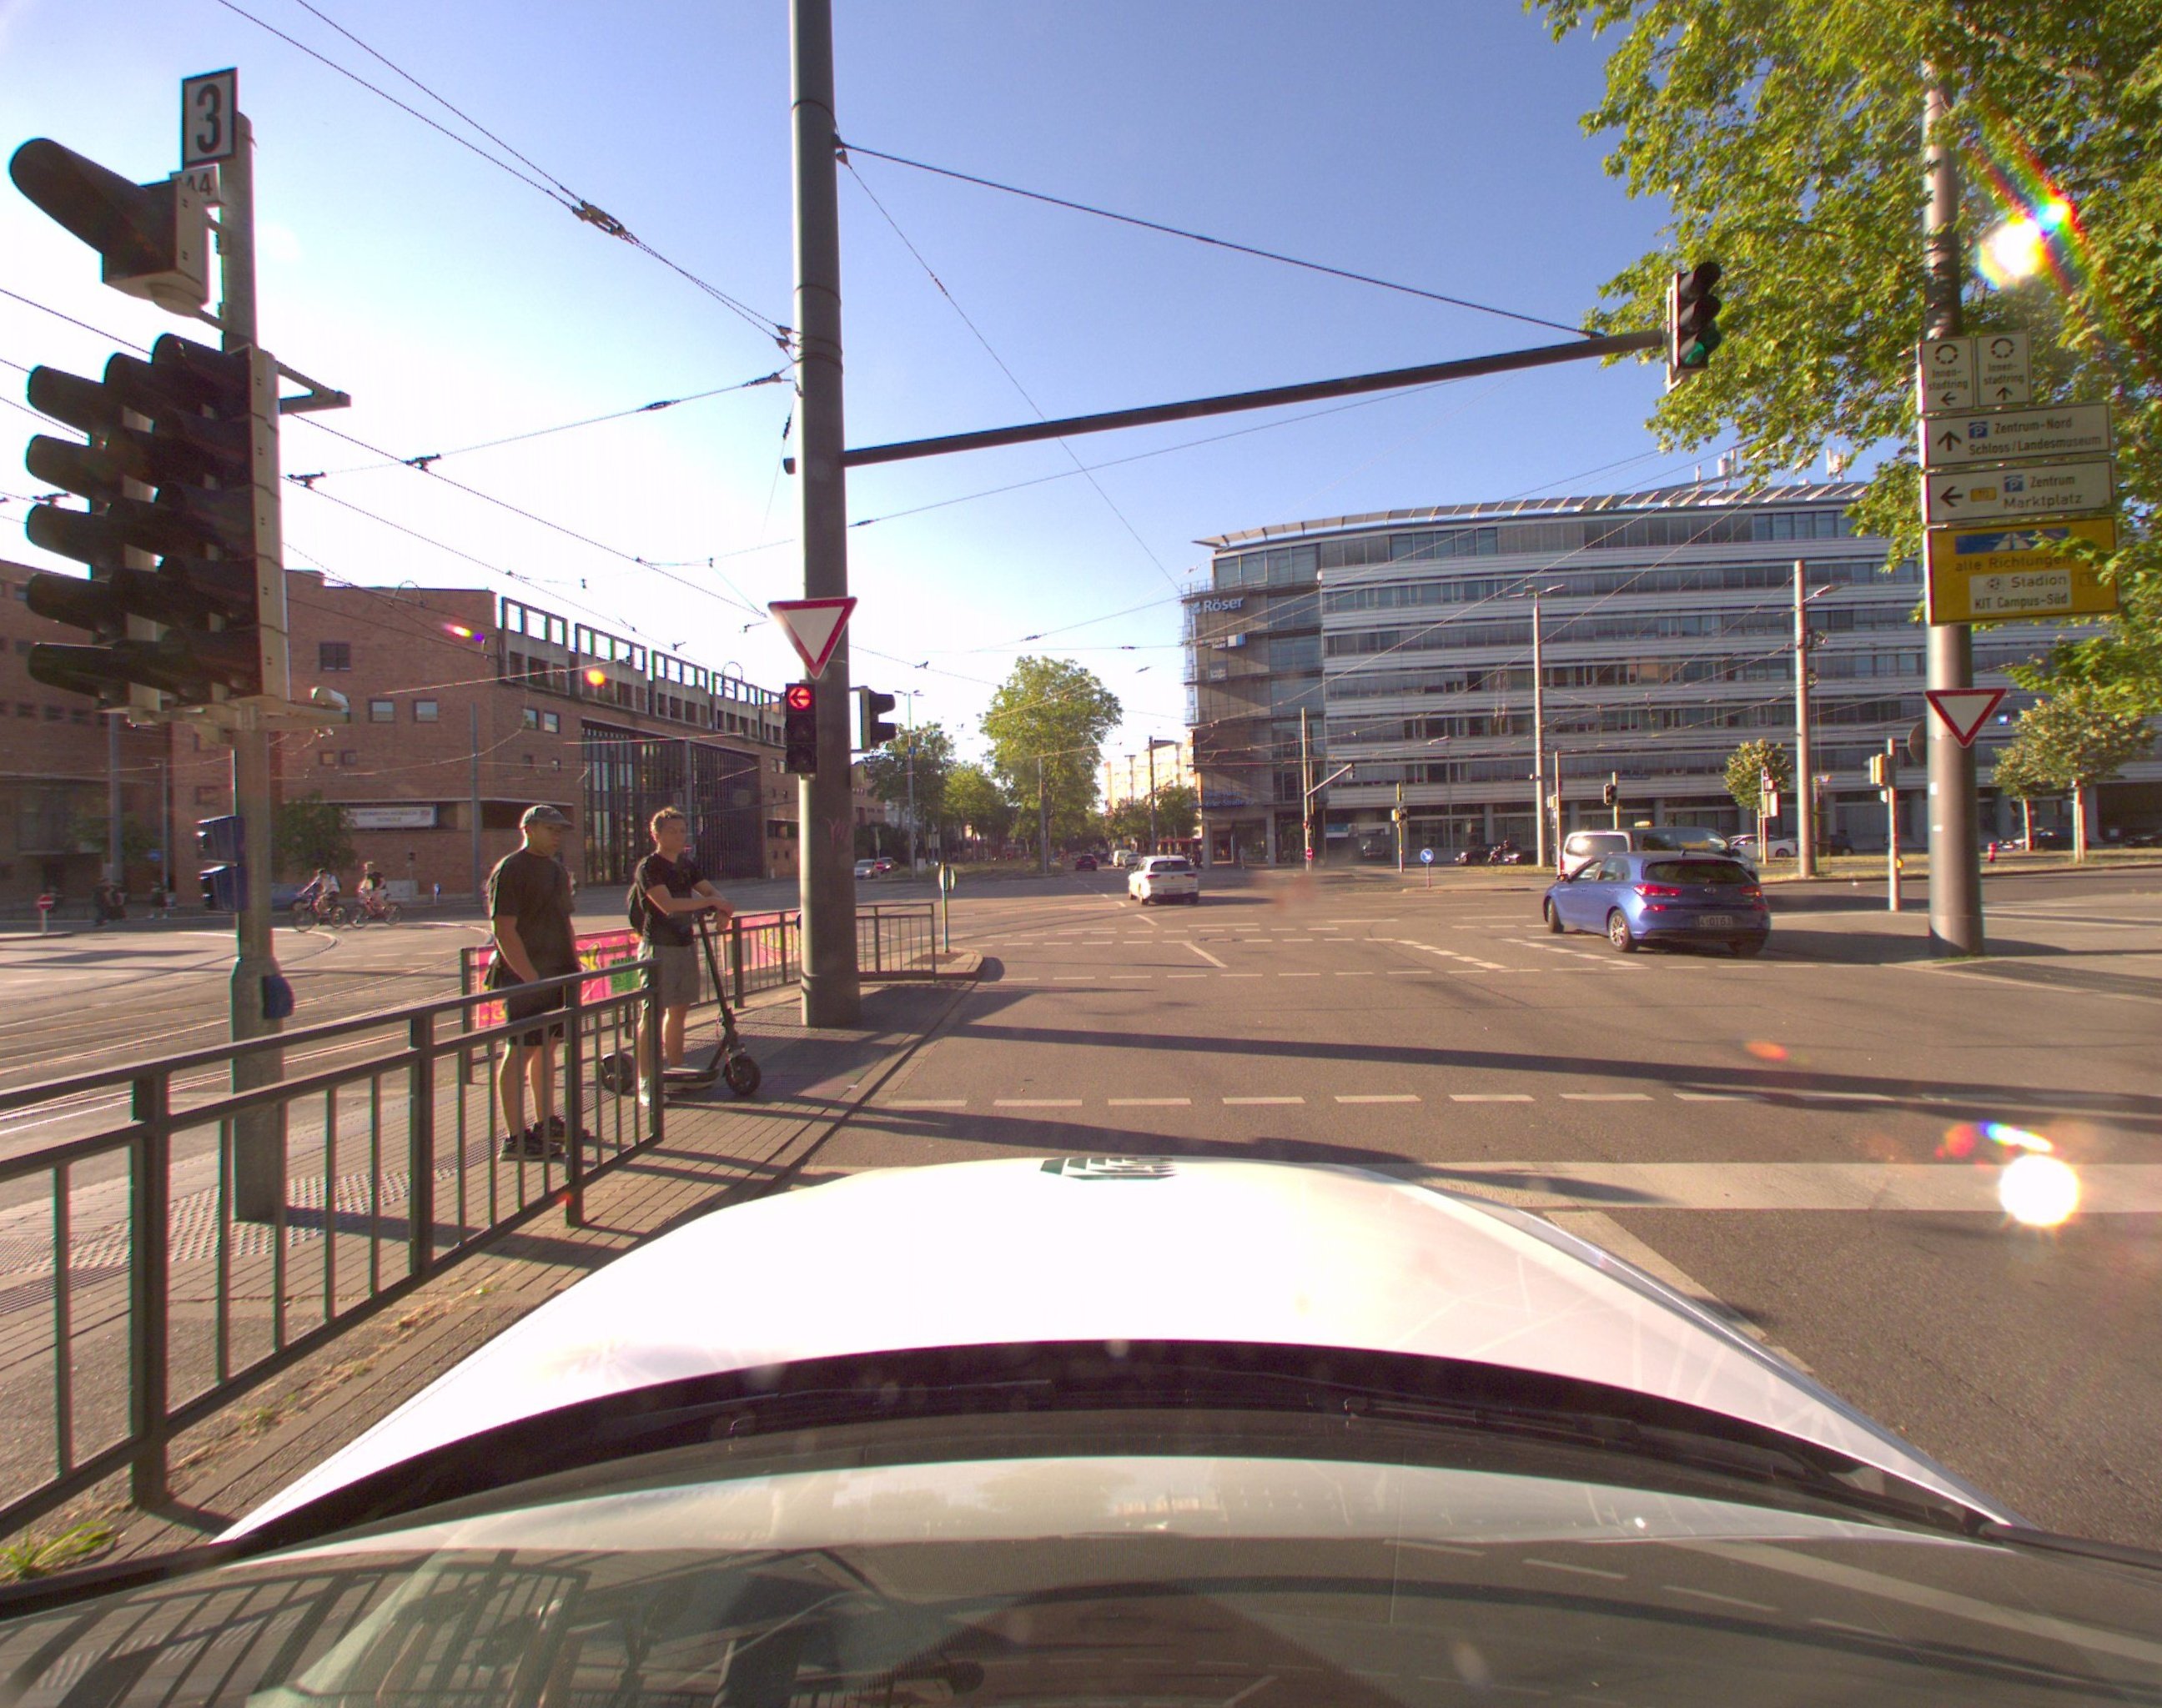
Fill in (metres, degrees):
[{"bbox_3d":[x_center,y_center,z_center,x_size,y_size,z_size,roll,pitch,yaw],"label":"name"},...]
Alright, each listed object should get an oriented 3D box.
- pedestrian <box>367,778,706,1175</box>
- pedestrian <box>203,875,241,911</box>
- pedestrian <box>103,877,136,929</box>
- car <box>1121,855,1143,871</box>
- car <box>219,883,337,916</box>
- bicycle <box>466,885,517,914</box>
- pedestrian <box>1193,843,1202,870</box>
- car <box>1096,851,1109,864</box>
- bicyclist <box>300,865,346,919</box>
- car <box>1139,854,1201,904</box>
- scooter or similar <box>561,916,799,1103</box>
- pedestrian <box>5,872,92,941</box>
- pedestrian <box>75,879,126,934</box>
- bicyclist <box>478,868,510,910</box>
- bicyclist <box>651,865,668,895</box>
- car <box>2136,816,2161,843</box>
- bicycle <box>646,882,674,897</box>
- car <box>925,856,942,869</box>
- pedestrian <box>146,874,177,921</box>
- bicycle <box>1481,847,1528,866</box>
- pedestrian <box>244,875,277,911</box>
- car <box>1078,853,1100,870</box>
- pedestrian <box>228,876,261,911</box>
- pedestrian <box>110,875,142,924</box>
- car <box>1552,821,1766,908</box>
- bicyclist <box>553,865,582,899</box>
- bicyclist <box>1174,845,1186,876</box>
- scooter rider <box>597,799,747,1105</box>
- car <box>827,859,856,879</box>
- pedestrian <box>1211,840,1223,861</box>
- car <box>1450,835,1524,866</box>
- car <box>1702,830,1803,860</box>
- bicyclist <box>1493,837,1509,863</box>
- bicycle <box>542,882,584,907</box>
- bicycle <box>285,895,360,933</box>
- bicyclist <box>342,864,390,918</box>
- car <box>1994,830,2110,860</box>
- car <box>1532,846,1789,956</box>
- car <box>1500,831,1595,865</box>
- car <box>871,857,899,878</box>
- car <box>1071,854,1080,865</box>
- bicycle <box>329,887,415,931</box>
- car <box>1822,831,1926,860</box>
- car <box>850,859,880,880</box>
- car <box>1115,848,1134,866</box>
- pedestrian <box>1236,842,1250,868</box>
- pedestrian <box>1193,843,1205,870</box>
[{"bbox_3d":[-2.830,0.600,4.344,1.161,1.884,0.856,-2,0,6],"label":"pedestrian"},{"bbox_3d":[-50.235,2.249,47.624,1.155,2.013,0.910,-2,0,-2],"label":"pedestrian"},{"bbox_3d":[-38.837,1.962,32.904,0.615,2.013,0.726,-2,0,-29],"label":"pedestrian"},{"bbox_3d":[5.144,0.923,82.686,2.022,1.596,4.001,0,-1,2],"label":"car"},{"bbox_3d":[-38.743,2.173,39.386,3.711,1.376,1.577,-2,0,-16],"label":"car"},{"bbox_3d":[-22.585,1.722,31.250,0.692,0.998,1.898,-2,0,-5],"label":"bicycle"},{"bbox_3d":[8.925,0.178,62.268,0.584,2.014,0.620,0,-1,2],"label":"pedestrian"},{"bbox_3d":[3.369,0.509,126.873,1.986,2.014,4.001,0,-1,2],"label":"car"},{"bbox_3d":[-23.027,1.147,24.742,0.660,1.574,0.757,-2,0,-7],"label":"bicyclist"},{"bbox_3d":[2.701,0.713,25.503,1.740,1.418,4.004,-1,0,4],"label":"car"},{"bbox_3d":[-2.592,0.990,5.342,1.196,1.081,0.649,-2,0,5],"label":"scooter or similar"},{"bbox_3d":[-30.932,1.550,24.422,1.029,2.014,1.208,0,-1,1],"label":"pedestrian"},{"bbox_3d":[-35.178,1.866,29.225,0.721,1.902,0.875,0,-1,-1],"label":"pedestrian"},{"bbox_3d":[-22.598,1.324,31.357,0.660,1.569,0.757,-2,0,-6],"label":"bicyclist"},{"bbox_3d":[-23.467,1.466,45.350,0.585,1.625,0.514,-2,0,-2],"label":"bicyclist"},{"bbox_3d":[65.254,-1.465,47.741,4.097,1.596,1.884,0,-1,5],"label":"car"},{"bbox_3d":[-23.447,1.971,45.352,0.588,0.771,1.966,-2,0,-2],"label":"bicycle"},{"bbox_3d":[-19.413,1.106,107.171,1.673,1.607,3.994,0,-1,-4],"label":"car"},{"bbox_3d":[-39.819,1.874,35.275,0.615,2.013,0.726,-2,0,-28],"label":"pedestrian"},{"bbox_3d":[25.472,0.137,49.026,2.397,1.022,0.638,-2,0,6],"label":"bicycle"},{"bbox_3d":[-49.171,2.339,48.802,1.003,2.052,0.850,-2,0,-1],"label":"pedestrian"},{"bbox_3d":[0.661,0.657,72.122,1.759,1.404,4.293,-1,0,-2],"label":"car"},{"bbox_3d":[-50.278,2.373,48.969,1.003,2.052,0.850,-2,0,-1],"label":"pedestrian"},{"bbox_3d":[-40.519,1.923,34.544,0.615,2.013,0.726,-2,0,-28],"label":"pedestrian"},{"bbox_3d":[13.968,0.190,19.660,4.888,1.896,1.992,-1,0,-24],"label":"car"},{"bbox_3d":[-23.009,1.260,36.482,0.652,1.474,1.031,-1,-1,-3],"label":"bicyclist"},{"bbox_3d":[4.624,0.294,37.899,0.485,1.439,0.616,1,1,1],"label":"bicyclist"},{"bbox_3d":[-2.648,0.608,5.327,0.563,1.853,0.681,-2,-2,6],"label":"scooter rider"},{"bbox_3d":[-22.061,1.357,75.183,1.865,1.762,3.992,0,0,-5],"label":"car"},{"bbox_3d":[14.984,-0.377,89.777,1.305,2.190,1.173,-1,-1,8],"label":"pedestrian"},{"bbox_3d":[27.193,-0.244,54.578,3.972,2.014,2.001,0,-1,2],"label":"car"},{"bbox_3d":[37.254,-0.460,45.243,3.968,1.596,1.884,0,-1,5],"label":"car"},{"bbox_3d":[25.308,-0.253,49.049,0.660,1.503,0.614,-2,0,7],"label":"bicyclist"},{"bbox_3d":[-22.999,1.784,36.191,0.650,1.050,2.010,-1,0,-3],"label":"bicycle"},{"bbox_3d":[-23.002,1.793,24.751,0.652,0.998,1.897,-2,0,-7],"label":"bicycle"},{"bbox_3d":[-21.972,1.132,25.039,0.679,1.560,0.759,-2,2,3],"label":"bicyclist"},{"bbox_3d":[54.755,-0.476,45.979,4.097,1.596,1.884,0,-1,5],"label":"car"},{"bbox_3d":[8.887,0.627,12.987,1.736,1.459,4.225,-1,0,11],"label":"car"},{"bbox_3d":[26.503,-0.327,46.372,4.234,1.723,1.886,-2,0,4],"label":"car"},{"bbox_3d":[-18.146,1.202,75.639,1.819,1.790,3.994,-2,0,-4],"label":"car"},{"bbox_3d":[-1.293,1.345,191.288,1.985,2.015,4.001,0,-6,3],"label":"car"},{"bbox_3d":[-21.933,1.680,25.255,0.682,1.142,2.113,-2,2,4],"label":"bicycle"},{"bbox_3d":[46.097,-0.489,47.430,4.097,1.596,1.884,0,-1,5],"label":"car"},{"bbox_3d":[-17.971,1.282,67.877,1.618,1.577,3.994,-2,0,-4],"label":"car"},{"bbox_3d":[4.742,0.343,89.705,1.986,2.014,4.001,0,-1,2],"label":"car"},{"bbox_3d":[12.510,0.103,62.889,0.866,2.014,0.794,0,-2,1],"label":"pedestrian"},{"bbox_3d":[9.082,0.201,62.843,0.846,2.014,0.708,0,-1,1],"label":"pedestrian"}]
